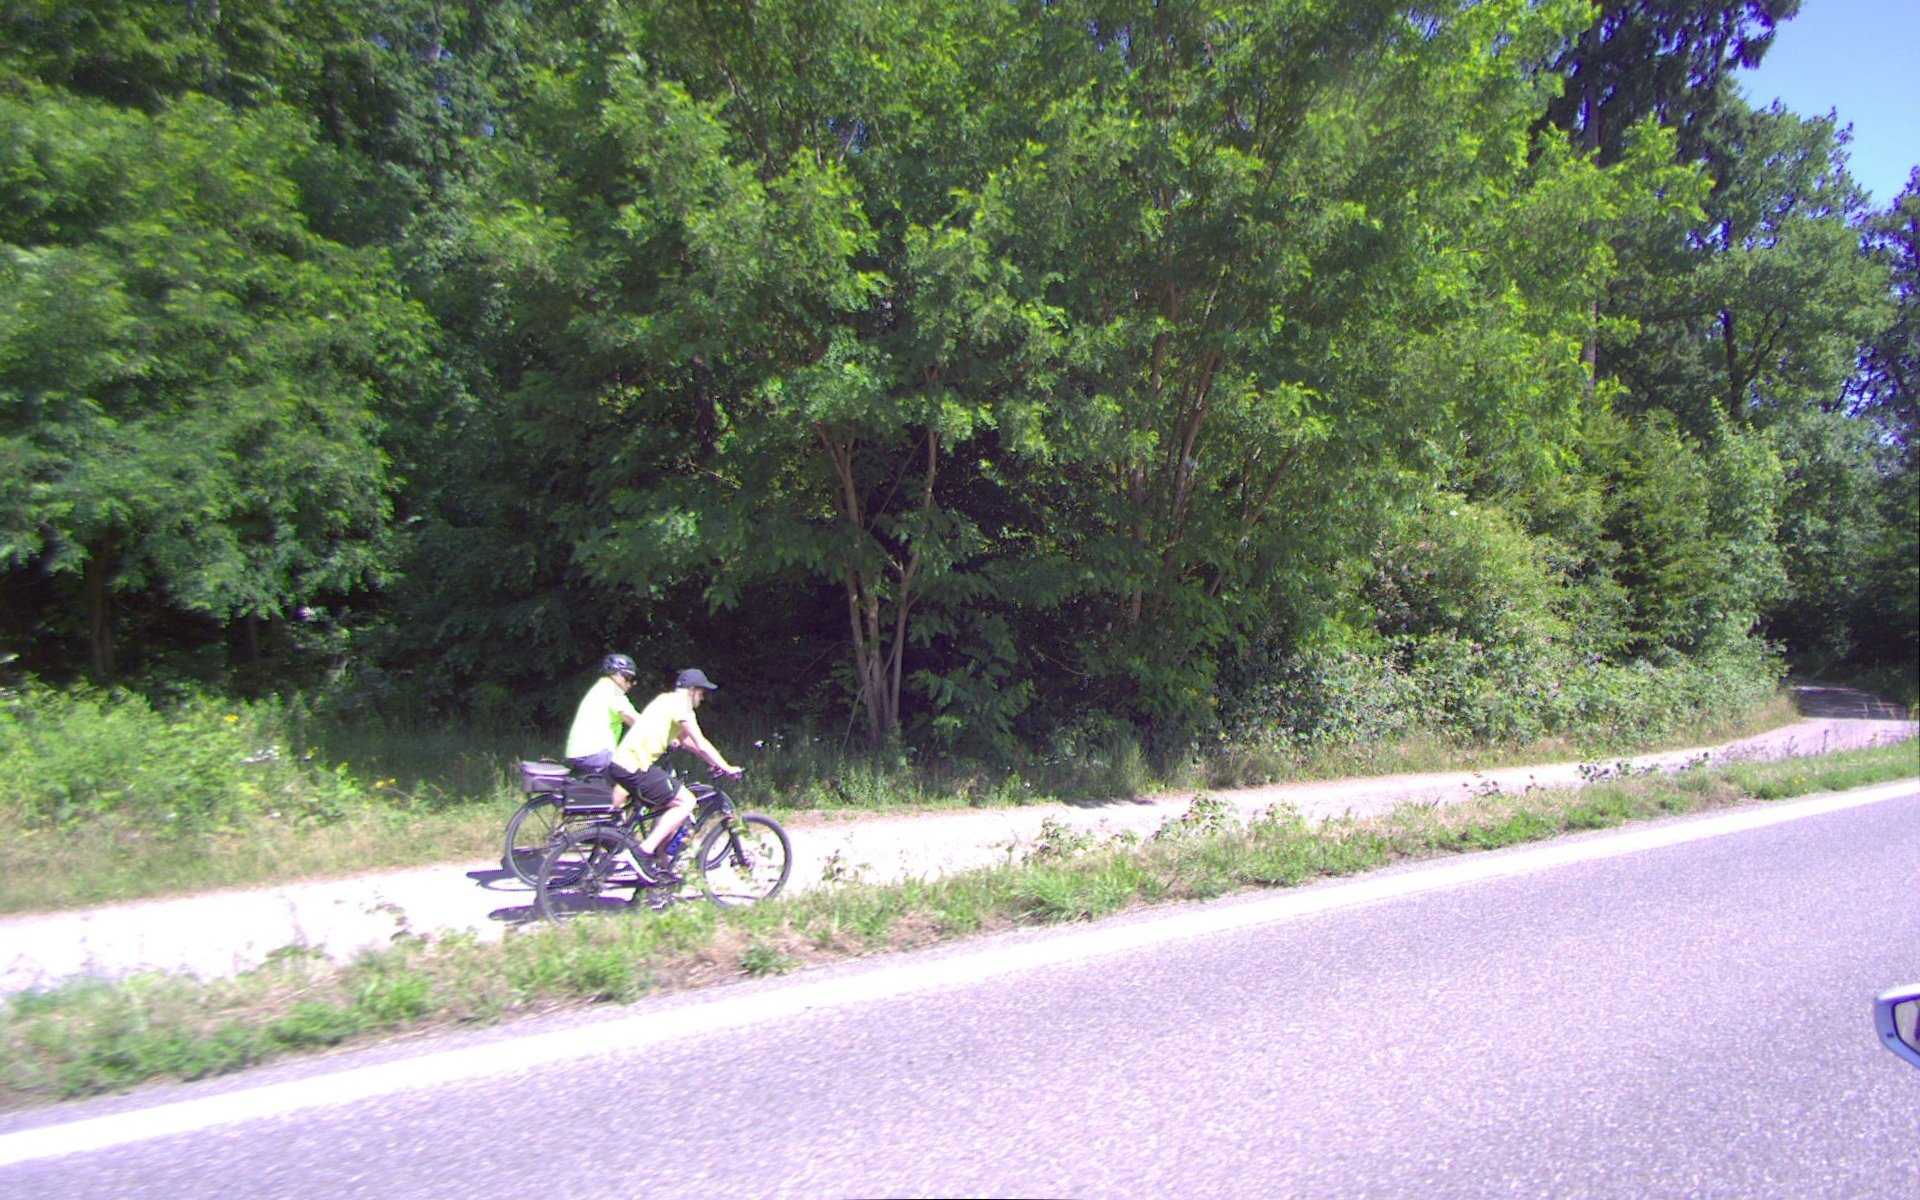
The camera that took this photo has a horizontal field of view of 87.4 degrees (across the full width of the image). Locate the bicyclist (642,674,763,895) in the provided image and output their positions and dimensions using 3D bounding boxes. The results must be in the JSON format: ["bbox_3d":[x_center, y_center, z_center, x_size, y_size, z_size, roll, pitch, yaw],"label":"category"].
[{"bbox_3d":[-1.814,1.248,7.064,0.694,1.433,0.602,1,-4,-30],"label":"bicyclist"}]

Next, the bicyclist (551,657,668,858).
[{"bbox_3d":[-2.743,1.196,7.846,0.694,1.434,0.602,3,0,-30],"label":"bicyclist"}]

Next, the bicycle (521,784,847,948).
[{"bbox_3d":[-1.888,1.790,7.026,2.112,0.798,0.637,1,-4,-30],"label":"bicycle"}]

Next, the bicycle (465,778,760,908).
[{"bbox_3d":[-2.689,1.857,7.887,2.112,0.690,0.616,1,-1,-30],"label":"bicycle"}]
